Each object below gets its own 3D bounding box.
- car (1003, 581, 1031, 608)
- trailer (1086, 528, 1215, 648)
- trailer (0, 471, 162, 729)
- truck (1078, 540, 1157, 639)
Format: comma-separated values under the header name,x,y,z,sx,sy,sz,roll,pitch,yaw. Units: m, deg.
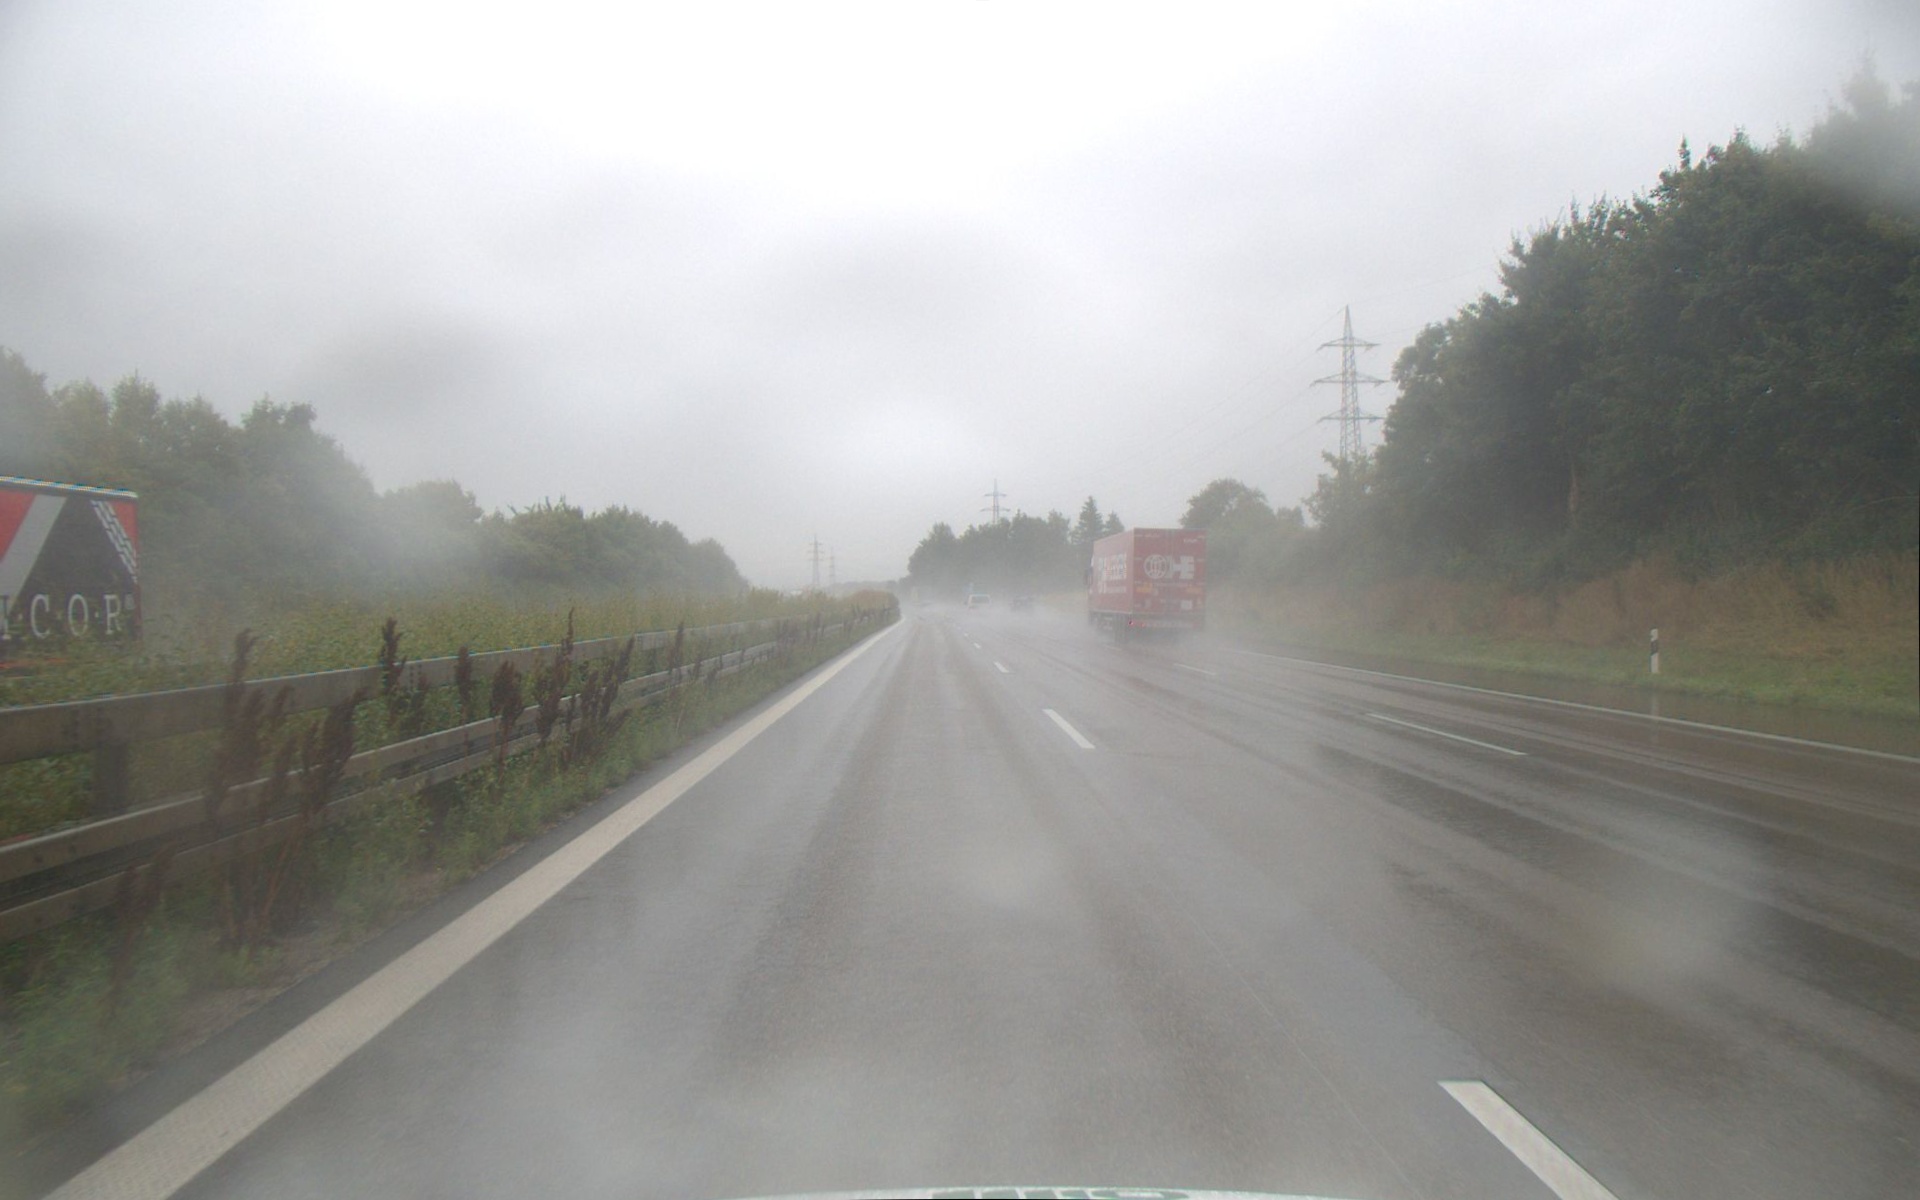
name,x,y,z,sx,sy,sz,roll,pitch,yaw
car,4.771,-0.446,137.821,1.772,2.196,3.996,-2,0,-5
trailer,7.118,-0.411,64.071,2.568,4.024,13.622,-3,0,-3
trailer,-17.348,-0.006,29.104,2.643,4.304,8.486,0,0,-2
truck,6.772,-0.439,71.754,2.568,4.024,5.431,-3,0,-2
